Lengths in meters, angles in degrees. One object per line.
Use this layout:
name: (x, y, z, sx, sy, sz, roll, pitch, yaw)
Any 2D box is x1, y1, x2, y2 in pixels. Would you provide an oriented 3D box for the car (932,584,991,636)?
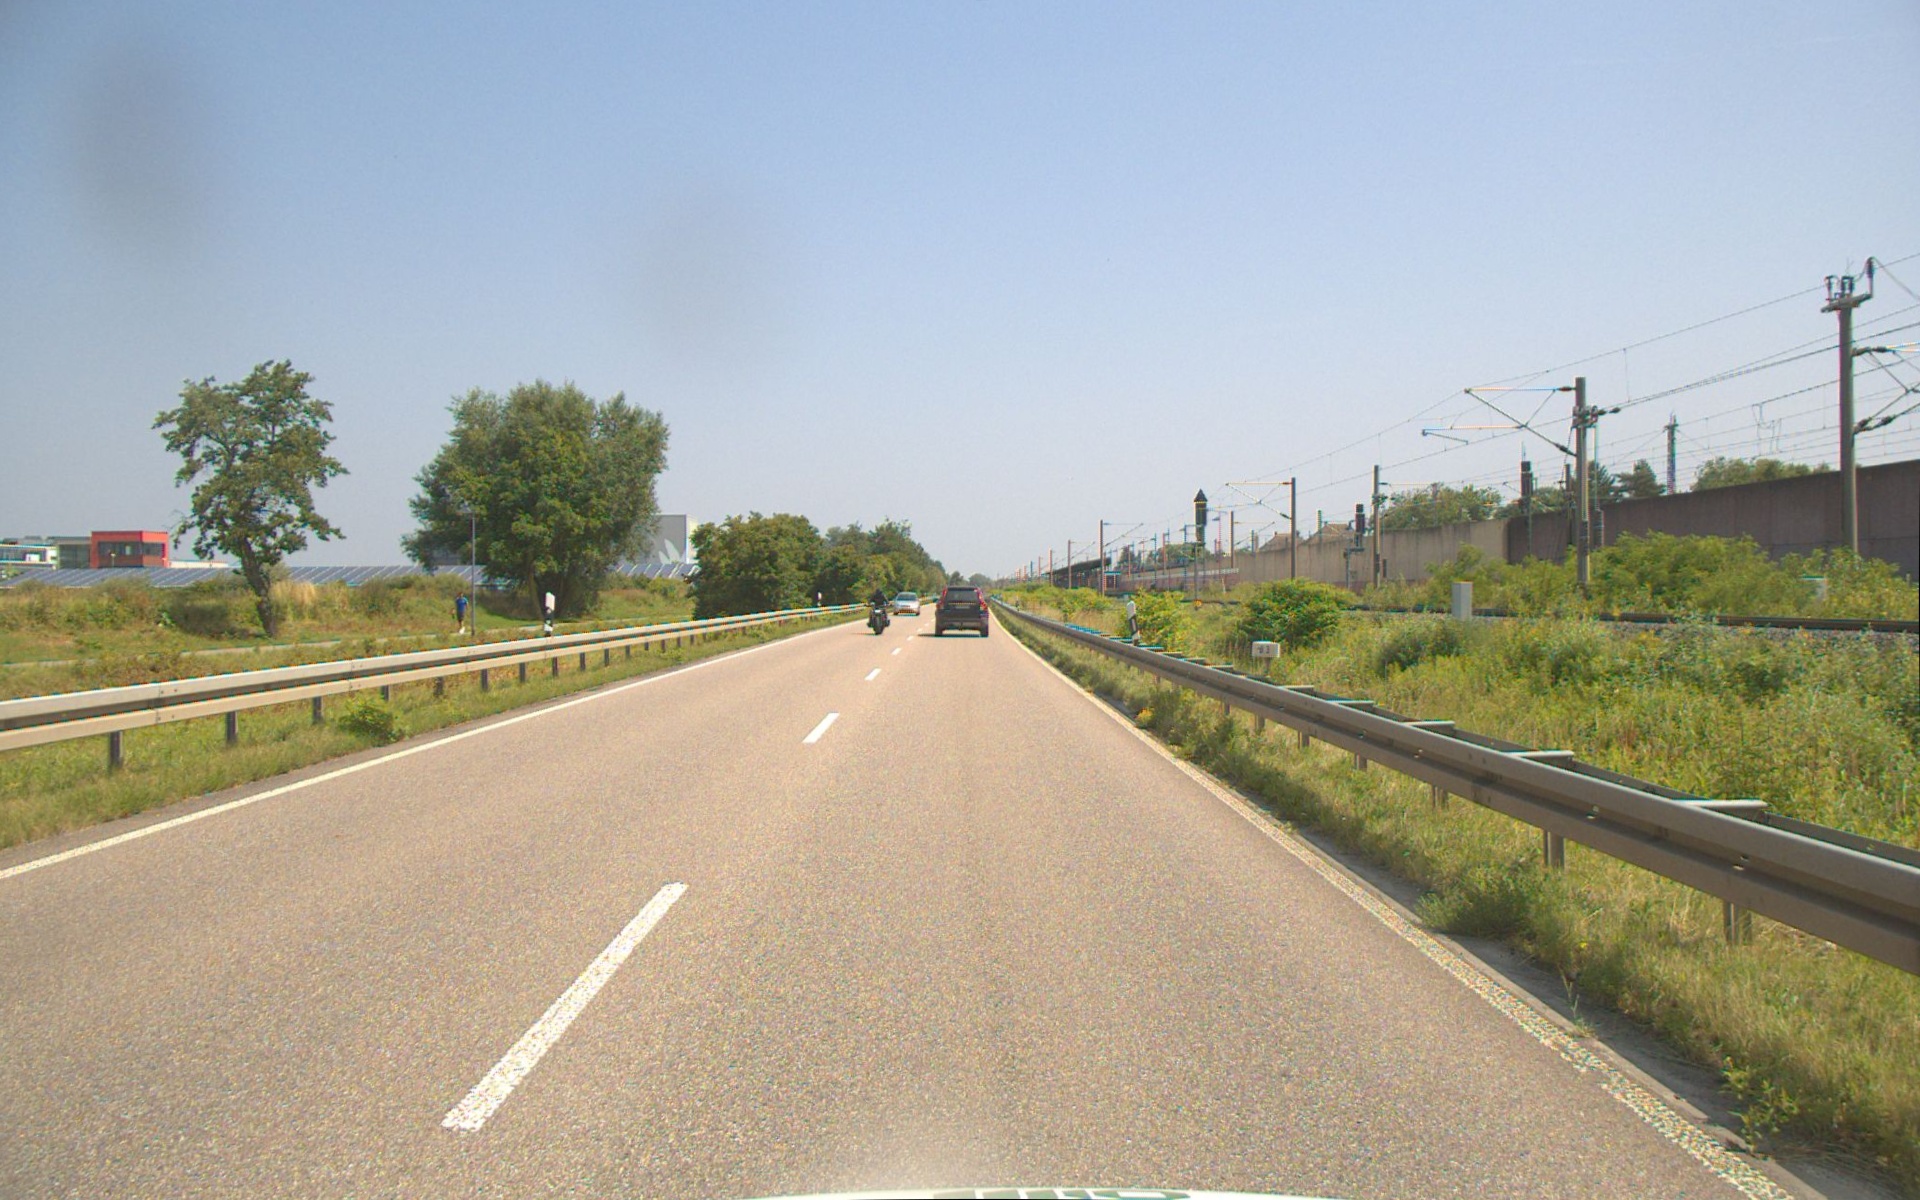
car: (0.022, 0.336, 57.853, 1.953, 1.730, 3.999, 0, 0, -2)

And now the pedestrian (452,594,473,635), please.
pedestrian: (-21.856, 0.631, 72.684, 0.566, 1.780, 0.821, -2, 0, 5)

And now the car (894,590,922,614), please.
car: (-3.425, 0.101, 108.921, 1.663, 1.500, 4.686, 1, 0, 0)

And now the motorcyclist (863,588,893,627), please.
motorcyclist: (-2.906, 0.259, 58.532, 0.973, 1.332, 0.935, 1, 0, 0)

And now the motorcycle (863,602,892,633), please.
motorcycle: (-2.912, 0.620, 58.558, 0.909, 1.046, 2.268, 1, 0, 0)
